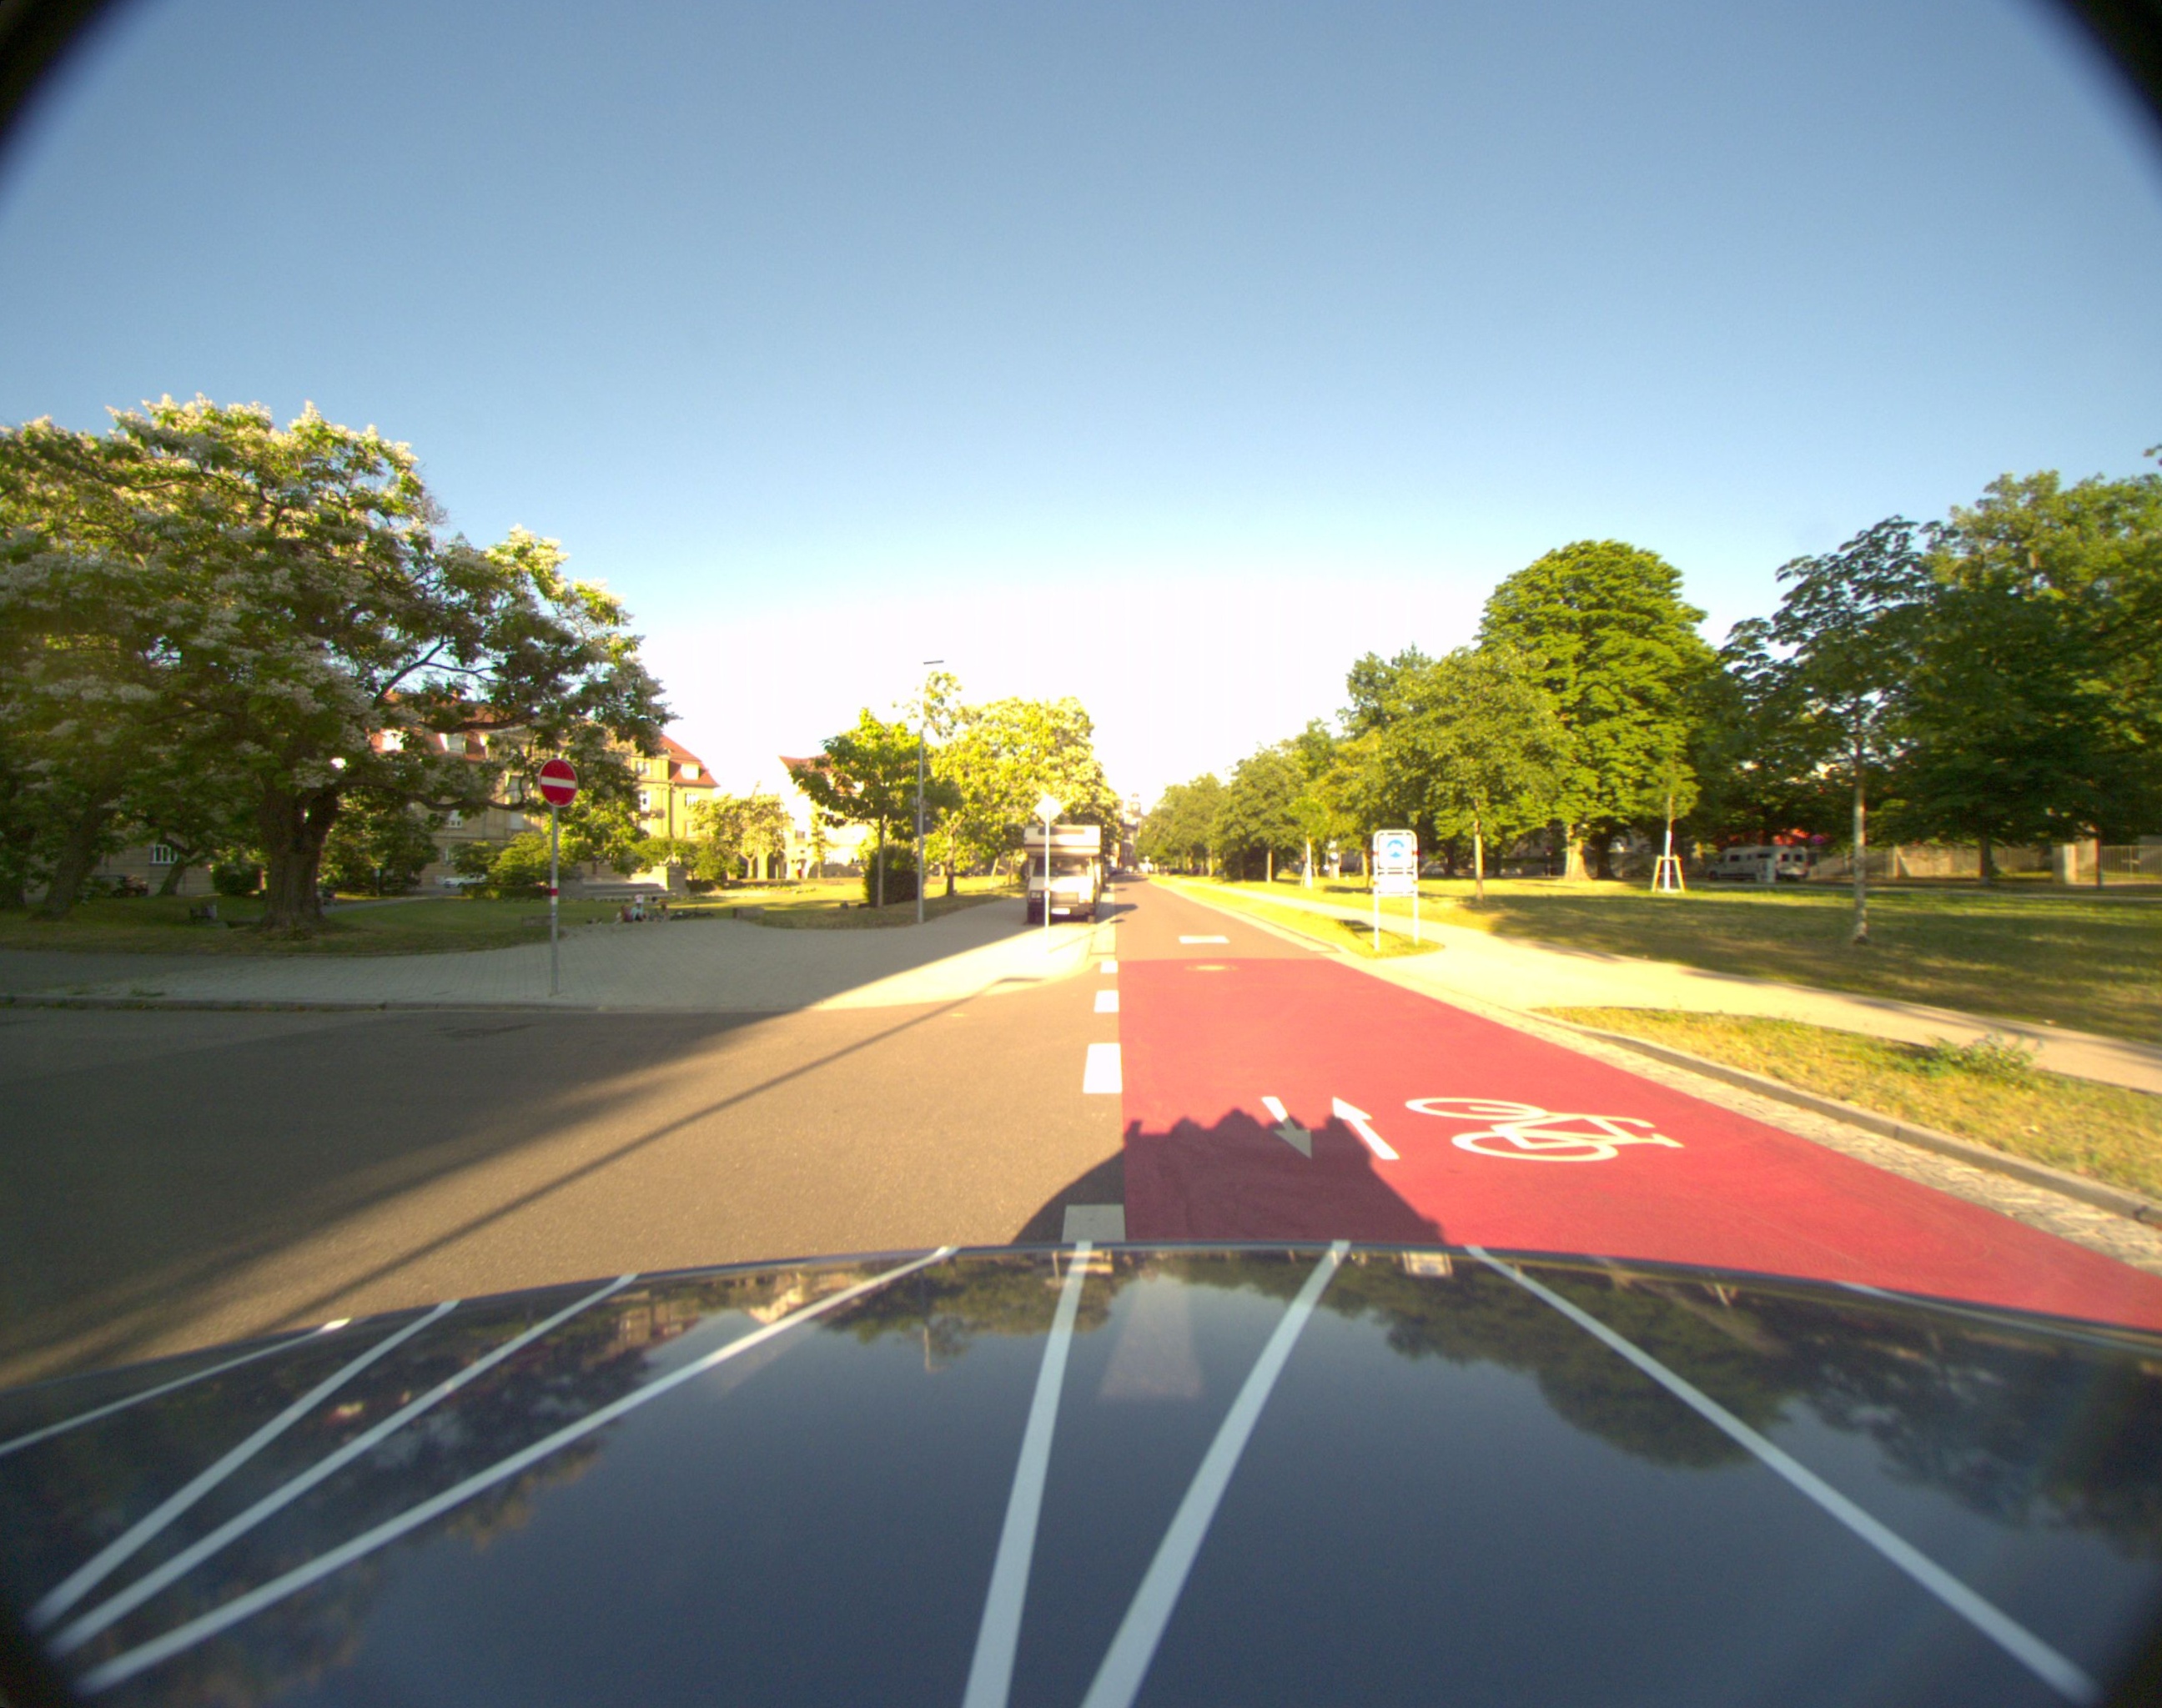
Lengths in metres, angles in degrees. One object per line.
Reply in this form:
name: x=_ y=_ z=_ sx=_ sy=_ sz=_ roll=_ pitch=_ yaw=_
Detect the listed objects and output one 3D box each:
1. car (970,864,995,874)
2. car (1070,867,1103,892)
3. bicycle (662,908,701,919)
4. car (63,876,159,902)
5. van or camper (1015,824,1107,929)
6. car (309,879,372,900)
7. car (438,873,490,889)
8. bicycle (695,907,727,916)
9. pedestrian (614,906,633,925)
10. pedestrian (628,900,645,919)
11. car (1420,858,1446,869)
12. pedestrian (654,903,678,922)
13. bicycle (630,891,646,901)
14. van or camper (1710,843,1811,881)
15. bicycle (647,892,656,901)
car: x=-16.026 y=2.443 z=123.490 sx=3.706 sy=1.490 sz=1.724 roll=-1 pitch=-1 yaw=-16
car: x=0.388 y=1.603 z=48.479 sx=1.998 sy=1.501 sz=4.001 roll=-1 pitch=-1 yaw=2
bicycle: x=-18.481 y=2.765 z=35.210 sx=0.659 sy=0.380 sz=1.933 roll=0 pitch=-1 yaw=5
car: x=-57.016 y=2.052 z=44.763 sx=1.728 sy=1.489 sz=3.699 roll=0 pitch=-2 yaw=-20
van or camper: x=-0.460 y=0.613 z=23.482 sx=2.427 sy=2.766 sz=5.953 roll=1 pitch=0 yaw=1
car: x=-62.379 y=2.953 z=64.105 sx=1.776 sy=1.574 sz=3.997 roll=-1 pitch=-1 yaw=-9
car: x=-60.655 y=2.694 z=74.748 sx=1.724 sy=1.489 sz=3.709 roll=-1 pitch=-2 yaw=9
bicycle: x=-18.205 y=2.831 z=37.425 sx=0.659 sy=0.317 sz=1.704 roll=0 pitch=-1 yaw=5
pedestrian: x=-18.922 y=2.523 z=31.444 sx=0.498 sy=0.742 sz=0.455 roll=-1 pitch=0 yaw=-2
pedestrian: x=-19.747 y=2.469 z=33.764 sx=0.453 sy=0.830 sz=0.499 roll=-2 pitch=0 yaw=36
car: x=48.854 y=1.377 z=105.526 sx=1.796 sy=1.455 sz=4.001 roll=-1 pitch=-1 yaw=2
pedestrian: x=-17.830 y=2.505 z=32.642 sx=0.497 sy=0.760 sz=0.812 roll=-2 pitch=-2 yaw=42
bicycle: x=-29.720 y=2.815 z=50.975 sx=0.907 sy=0.648 sz=0.438 roll=-1 pitch=-1 yaw=-36
van or camper: x=46.435 y=0.559 z=52.153 sx=1.998 sy=2.425 sz=5.468 roll=-3 pitch=-1 yaw=1
bicycle: x=-29.078 y=2.860 z=51.417 sx=0.488 sy=0.579 sz=0.438 roll=-1 pitch=-1 yaw=-36
